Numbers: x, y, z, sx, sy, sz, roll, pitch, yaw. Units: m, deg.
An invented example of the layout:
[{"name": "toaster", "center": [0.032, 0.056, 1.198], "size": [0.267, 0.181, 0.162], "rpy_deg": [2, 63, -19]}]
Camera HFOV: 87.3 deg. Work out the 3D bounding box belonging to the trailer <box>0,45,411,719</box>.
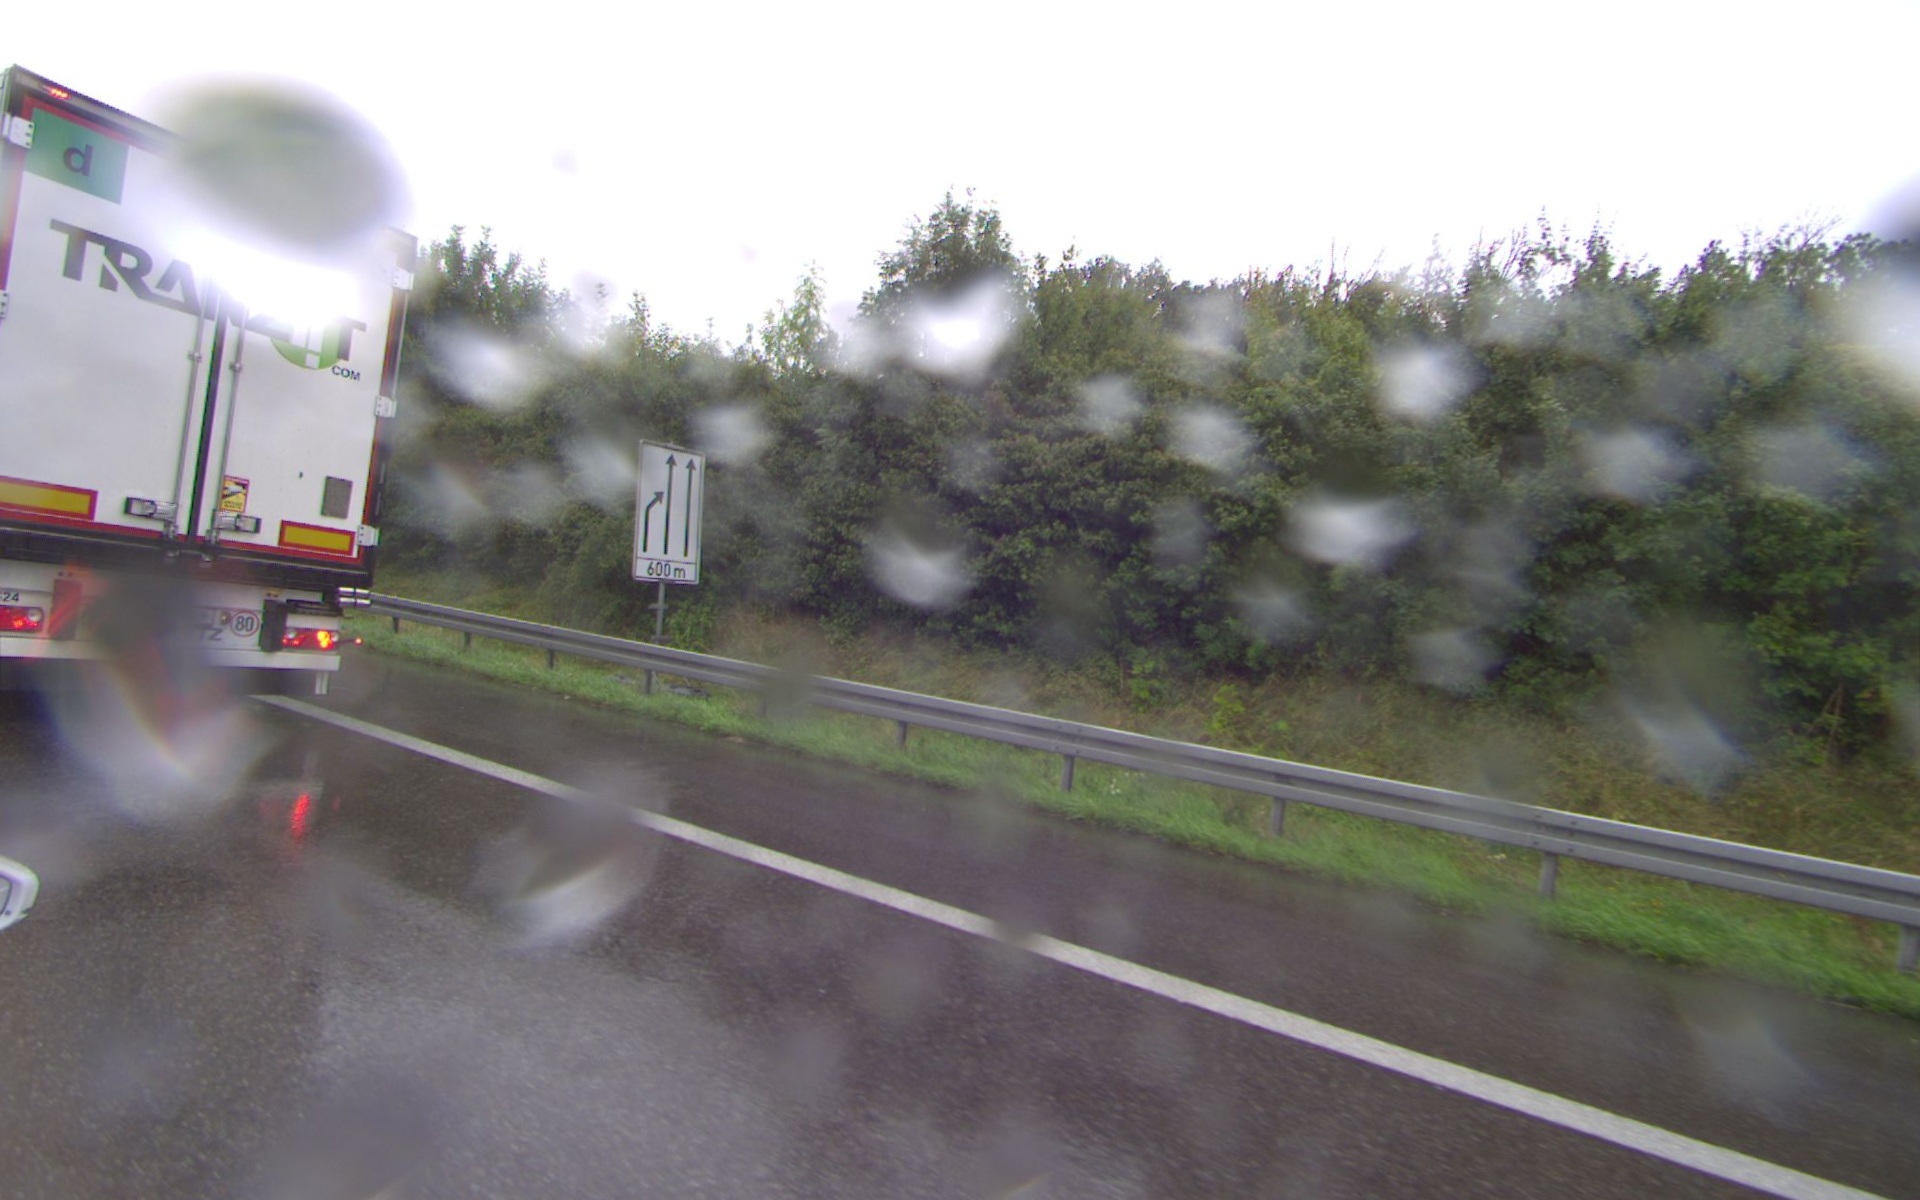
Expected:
[{"name": "trailer", "center": [-11.424, -1.941, 10.856], "size": [14.387, 4.061, 2.634], "rpy_deg": [7, 0, 32]}]
